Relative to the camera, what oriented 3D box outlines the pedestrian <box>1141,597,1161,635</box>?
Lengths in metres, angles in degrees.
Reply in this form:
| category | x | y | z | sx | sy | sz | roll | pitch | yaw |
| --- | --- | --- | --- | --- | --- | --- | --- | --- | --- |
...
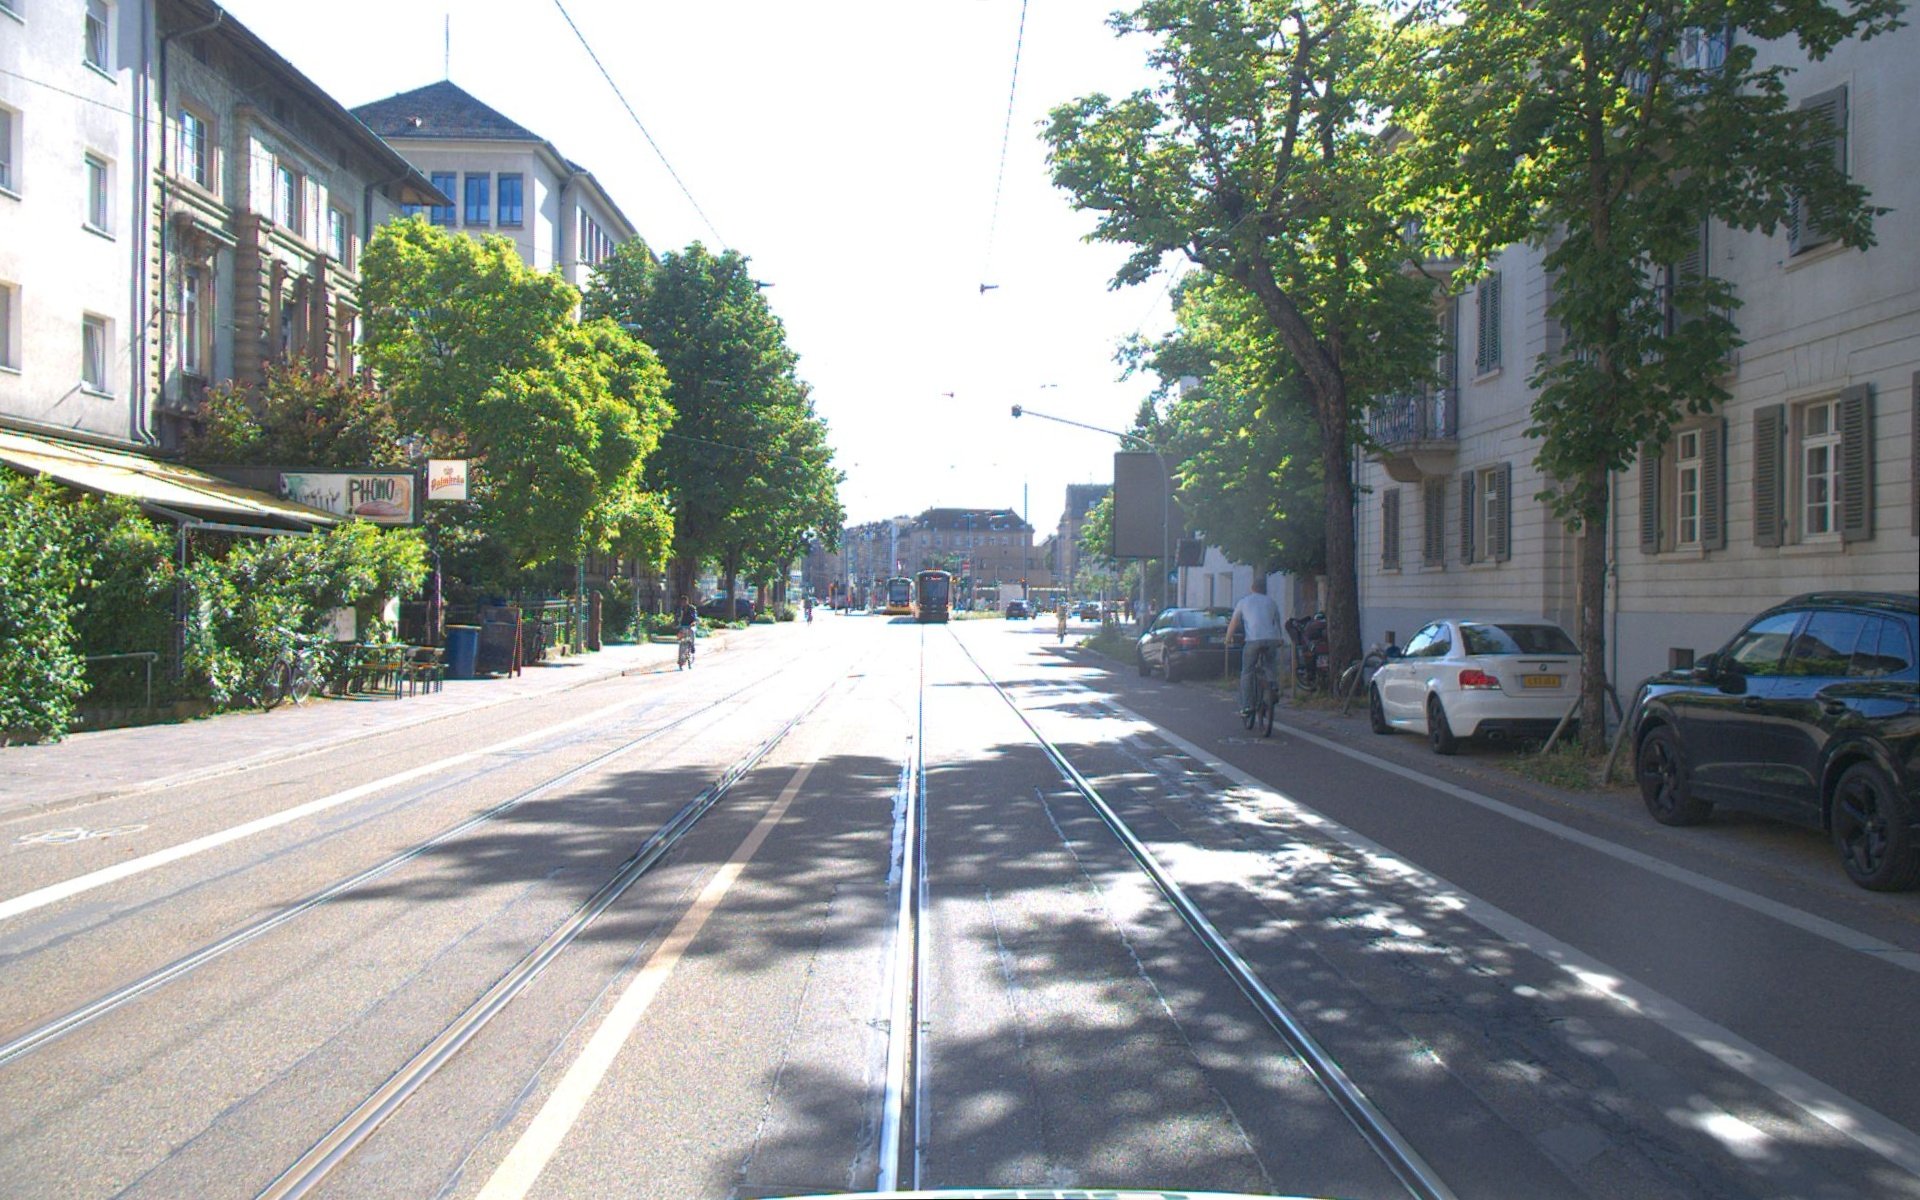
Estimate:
| category | x | y | z | sx | sy | sz | roll | pitch | yaw |
| --- | --- | --- | --- | --- | --- | --- | --- | --- | --- |
| pedestrian | 8.671 | 0.734 | 75.154 | 0.839 | 1.669 | 0.993 | 0 | -2 | 1 |

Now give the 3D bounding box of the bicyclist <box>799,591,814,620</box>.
| category | x | y | z | sx | sy | sz | roll | pitch | yaw |
| --- | --- | --- | --- | --- | --- | --- | --- | --- | --- |
| bicyclist | -9.152 | 0.310 | 98.457 | 0.672 | 1.673 | 1.238 | -1 | 0 | 3 |

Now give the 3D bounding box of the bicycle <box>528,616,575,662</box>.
| category | x | y | z | sx | sy | sz | roll | pitch | yaw |
| --- | --- | --- | --- | --- | --- | --- | --- | --- | --- |
| bicycle | -9.982 | 0.944 | 40.486 | 0.577 | 1.064 | 1.905 | 2 | 0 | 2 |

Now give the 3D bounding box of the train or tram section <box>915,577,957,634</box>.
| category | x | y | z | sx | sy | sz | roll | pitch | yaw |
| --- | --- | --- | --- | --- | --- | --- | --- | --- | --- |
| train or tram section | -1.767 | 0.290 | 115.864 | 2.687 | 3.715 | 13.780 | 1 | 0 | -2 |

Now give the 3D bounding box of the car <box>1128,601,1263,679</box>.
| category | x | y | z | sx | sy | sz | roll | pitch | yaw |
| --- | --- | --- | --- | --- | --- | --- | --- | --- | --- |
| car | 4.858 | 0.786 | 34.808 | 1.786 | 1.484 | 4.814 | -1 | 0 | -5 |

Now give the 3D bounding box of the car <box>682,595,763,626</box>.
| category | x | y | z | sx | sy | sz | roll | pitch | yaw |
| --- | --- | --- | --- | --- | --- | --- | --- | --- | --- |
| car | -12.887 | 0.562 | 89.645 | 3.942 | 1.577 | 1.860 | 2 | 0 | -29 |

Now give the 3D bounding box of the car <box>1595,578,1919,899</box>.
| category | x | y | z | sx | sy | sz | roll | pitch | yaw |
| --- | --- | --- | --- | --- | --- | --- | --- | --- | --- |
| car | 5.859 | 0.702 | 10.559 | 1.774 | 1.654 | 4.583 | -2 | 0 | -1 |

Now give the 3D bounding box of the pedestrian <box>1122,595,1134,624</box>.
| category | x | y | z | sx | sy | sz | roll | pitch | yaw |
| --- | --- | --- | --- | --- | --- | --- | --- | --- | --- |
| pedestrian | 11.426 | 0.655 | 112.673 | 0.624 | 1.937 | 1.134 | -2 | 0 | 0 |

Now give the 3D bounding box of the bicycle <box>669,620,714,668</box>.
| category | x | y | z | sx | sy | sz | roll | pitch | yaw |
| --- | --- | --- | --- | --- | --- | --- | --- | --- | --- |
| bicycle | -6.535 | 1.055 | 40.285 | 0.730 | 1.101 | 1.899 | -3 | 0 | 0 |

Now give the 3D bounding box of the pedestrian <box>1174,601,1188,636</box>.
| category | x | y | z | sx | sy | sz | roll | pitch | yaw |
| --- | --- | --- | --- | --- | --- | --- | --- | --- | --- |
| pedestrian | 9.032 | 0.748 | 67.593 | 0.507 | 1.429 | 0.765 | 0 | 0 | 2 |

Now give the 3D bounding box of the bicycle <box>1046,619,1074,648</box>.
| category | x | y | z | sx | sy | sz | roll | pitch | yaw |
| --- | --- | --- | --- | --- | --- | --- | --- | --- | --- |
| bicycle | 4.121 | 1.359 | 67.994 | 0.690 | 1.124 | 1.718 | 2 | 0 | 18 |

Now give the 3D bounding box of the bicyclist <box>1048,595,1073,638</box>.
| category | x | y | z | sx | sy | sz | roll | pitch | yaw |
| --- | --- | --- | --- | --- | --- | --- | --- | --- | --- |
| bicyclist | 4.143 | 0.670 | 67.990 | 0.690 | 1.704 | 1.102 | 2 | 0 | 18 |

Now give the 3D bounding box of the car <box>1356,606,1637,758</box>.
| category | x | y | z | sx | sy | sz | roll | pitch | yaw |
| --- | --- | --- | --- | --- | --- | --- | --- | --- | --- |
| car | 5.733 | 0.808 | 18.234 | 1.688 | 1.406 | 4.356 | -1 | 0 | 0 |

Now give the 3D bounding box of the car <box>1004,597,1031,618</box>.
| category | x | y | z | sx | sy | sz | roll | pitch | yaw |
| --- | --- | --- | --- | --- | --- | --- | --- | --- | --- |
| car | 4.715 | 0.586 | 135.311 | 1.751 | 1.632 | 3.716 | 2 | 0 | 10 |

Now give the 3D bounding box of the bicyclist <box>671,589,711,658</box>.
| category | x | y | z | sx | sy | sz | roll | pitch | yaw |
| --- | --- | --- | --- | --- | --- | --- | --- | --- | --- |
| bicyclist | -6.554 | 0.570 | 40.287 | 0.730 | 1.627 | 1.118 | -2 | 0 | 0 |

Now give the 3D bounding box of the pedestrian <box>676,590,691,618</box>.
| category | x | y | z | sx | sy | sz | roll | pitch | yaw |
| --- | --- | --- | --- | --- | --- | --- | --- | --- | --- |
| pedestrian | -16.788 | 0.257 | 100.403 | 0.686 | 1.663 | 0.759 | 3 | 0 | -1 |

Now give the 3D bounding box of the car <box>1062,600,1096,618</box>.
| category | x | y | z | sx | sy | sz | roll | pitch | yaw |
| --- | --- | --- | --- | --- | --- | --- | --- | --- | --- |
| car | 11.387 | 0.859 | 157.905 | 1.672 | 1.672 | 3.701 | 2 | 0 | 34 |

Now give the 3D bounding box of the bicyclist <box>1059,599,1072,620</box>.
| category | x | y | z | sx | sy | sz | roll | pitch | yaw |
| --- | --- | --- | --- | --- | --- | --- | --- | --- | --- |
| bicyclist | 8.843 | 0.768 | 138.407 | 0.691 | 1.730 | 0.986 | 3 | 1 | 23 |

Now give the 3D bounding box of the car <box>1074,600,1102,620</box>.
| category | x | y | z | sx | sy | sz | roll | pitch | yaw |
| --- | --- | --- | --- | --- | --- | --- | --- | --- | --- |
| car | 10.594 | 0.796 | 136.684 | 1.751 | 1.537 | 3.715 | 2 | 0 | 13 |

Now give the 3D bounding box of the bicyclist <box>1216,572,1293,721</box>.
| category | x | y | z | sx | sy | sz | roll | pitch | yaw |
| --- | --- | --- | --- | --- | --- | --- | --- | --- | --- |
| bicyclist | 3.534 | 0.546 | 19.901 | 0.723 | 1.715 | 0.972 | 2 | 0 | 1 |

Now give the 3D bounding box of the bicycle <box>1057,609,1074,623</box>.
| category | x | y | z | sx | sy | sz | roll | pitch | yaw |
| --- | --- | --- | --- | --- | --- | --- | --- | --- | --- |
| bicycle | 8.829 | 1.321 | 138.448 | 0.691 | 1.073 | 2.313 | 3 | 1 | 23 |

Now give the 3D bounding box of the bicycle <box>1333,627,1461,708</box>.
| category | x | y | z | sx | sy | sz | roll | pitch | yaw |
| --- | --- | --- | --- | --- | --- | --- | --- | --- | --- |
| bicycle | 6.060 | 0.925 | 22.984 | 1.586 | 1.061 | 0.685 | -1 | 0 | -1 |

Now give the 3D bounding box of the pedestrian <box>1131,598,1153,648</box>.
| category | x | y | z | sx | sy | sz | roll | pitch | yaw |
| --- | --- | --- | --- | --- | --- | --- | --- | --- | --- |
| pedestrian | 6.885 | 0.870 | 62.670 | 0.670 | 1.882 | 0.955 | -1 | 0 | -2 |

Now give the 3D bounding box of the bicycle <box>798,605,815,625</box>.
| category | x | y | z | sx | sy | sz | roll | pitch | yaw |
| --- | --- | --- | --- | --- | --- | --- | --- | --- | --- |
| bicycle | -9.137 | 0.890 | 98.473 | 0.672 | 1.144 | 1.932 | -1 | 0 | 3 |

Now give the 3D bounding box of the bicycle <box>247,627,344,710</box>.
| category | x | y | z | sx | sy | sz | roll | pitch | yaw |
| --- | --- | --- | --- | --- | --- | --- | --- | --- | --- |
| bicycle | -9.417 | 0.956 | 23.508 | 0.625 | 1.077 | 1.743 | 3 | 0 | 0 |

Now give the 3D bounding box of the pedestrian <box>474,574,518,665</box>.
| category | x | y | z | sx | sy | sz | roll | pitch | yaw |
| --- | --- | --- | --- | --- | --- | --- | --- | --- | --- |
| pedestrian | -9.581 | 0.396 | 34.184 | 0.563 | 1.863 | 0.690 | 0 | 0 | 18 |

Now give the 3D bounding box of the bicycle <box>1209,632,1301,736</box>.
| category | x | y | z | sx | sy | sz | roll | pitch | yaw |
| --- | --- | --- | --- | --- | --- | --- | --- | --- | --- |
| bicycle | 3.519 | 0.978 | 19.873 | 0.723 | 1.113 | 2.111 | 2 | 0 | 1 |

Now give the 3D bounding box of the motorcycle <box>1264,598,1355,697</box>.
| category | x | y | z | sx | sy | sz | roll | pitch | yaw |
| --- | --- | --- | --- | --- | --- | --- | --- | --- | --- |
| motorcycle | 5.686 | 0.748 | 27.070 | 0.895 | 1.514 | 2.679 | -1 | 0 | 0 |

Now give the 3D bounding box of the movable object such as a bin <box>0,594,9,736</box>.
| category | x | y | z | sx | sy | sz | roll | pitch | yaw |
| --- | --- | --- | --- | --- | --- | --- | --- | --- | --- |
| movable object such as a bin | -10.366 | 0.681 | 16.727 | 0.791 | 1.482 | 1.257 | 0 | 0 | -3 |

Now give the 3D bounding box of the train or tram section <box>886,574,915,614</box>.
| category | x | y | z | sx | sy | sz | roll | pitch | yaw |
| --- | --- | --- | --- | --- | --- | --- | --- | --- | --- |
| train or tram section | -5.848 | -0.628 | 162.229 | 2.687 | 3.715 | 13.780 | 1 | 0 | -2 |

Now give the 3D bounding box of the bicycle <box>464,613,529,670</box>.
| category | x | y | z | sx | sy | sz | roll | pitch | yaw |
| --- | --- | --- | --- | --- | --- | --- | --- | --- | --- |
| bicycle | -10.043 | 0.878 | 35.920 | 0.632 | 1.163 | 1.906 | 3 | 0 | 7 |

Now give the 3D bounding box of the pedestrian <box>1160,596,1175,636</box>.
| category | x | y | z | sx | sy | sz | roll | pitch | yaw |
| --- | --- | --- | --- | --- | --- | --- | --- | --- | --- |
| pedestrian | 8.490 | 0.664 | 67.672 | 0.507 | 1.628 | 0.765 | 0 | 0 | 2 |

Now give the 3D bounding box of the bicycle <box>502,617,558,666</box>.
| category | x | y | z | sx | sy | sz | roll | pitch | yaw |
| --- | --- | --- | --- | --- | --- | --- | --- | --- | --- |
| bicycle | -9.998 | 0.955 | 38.485 | 0.577 | 1.064 | 1.906 | 2 | 0 | 7 |
